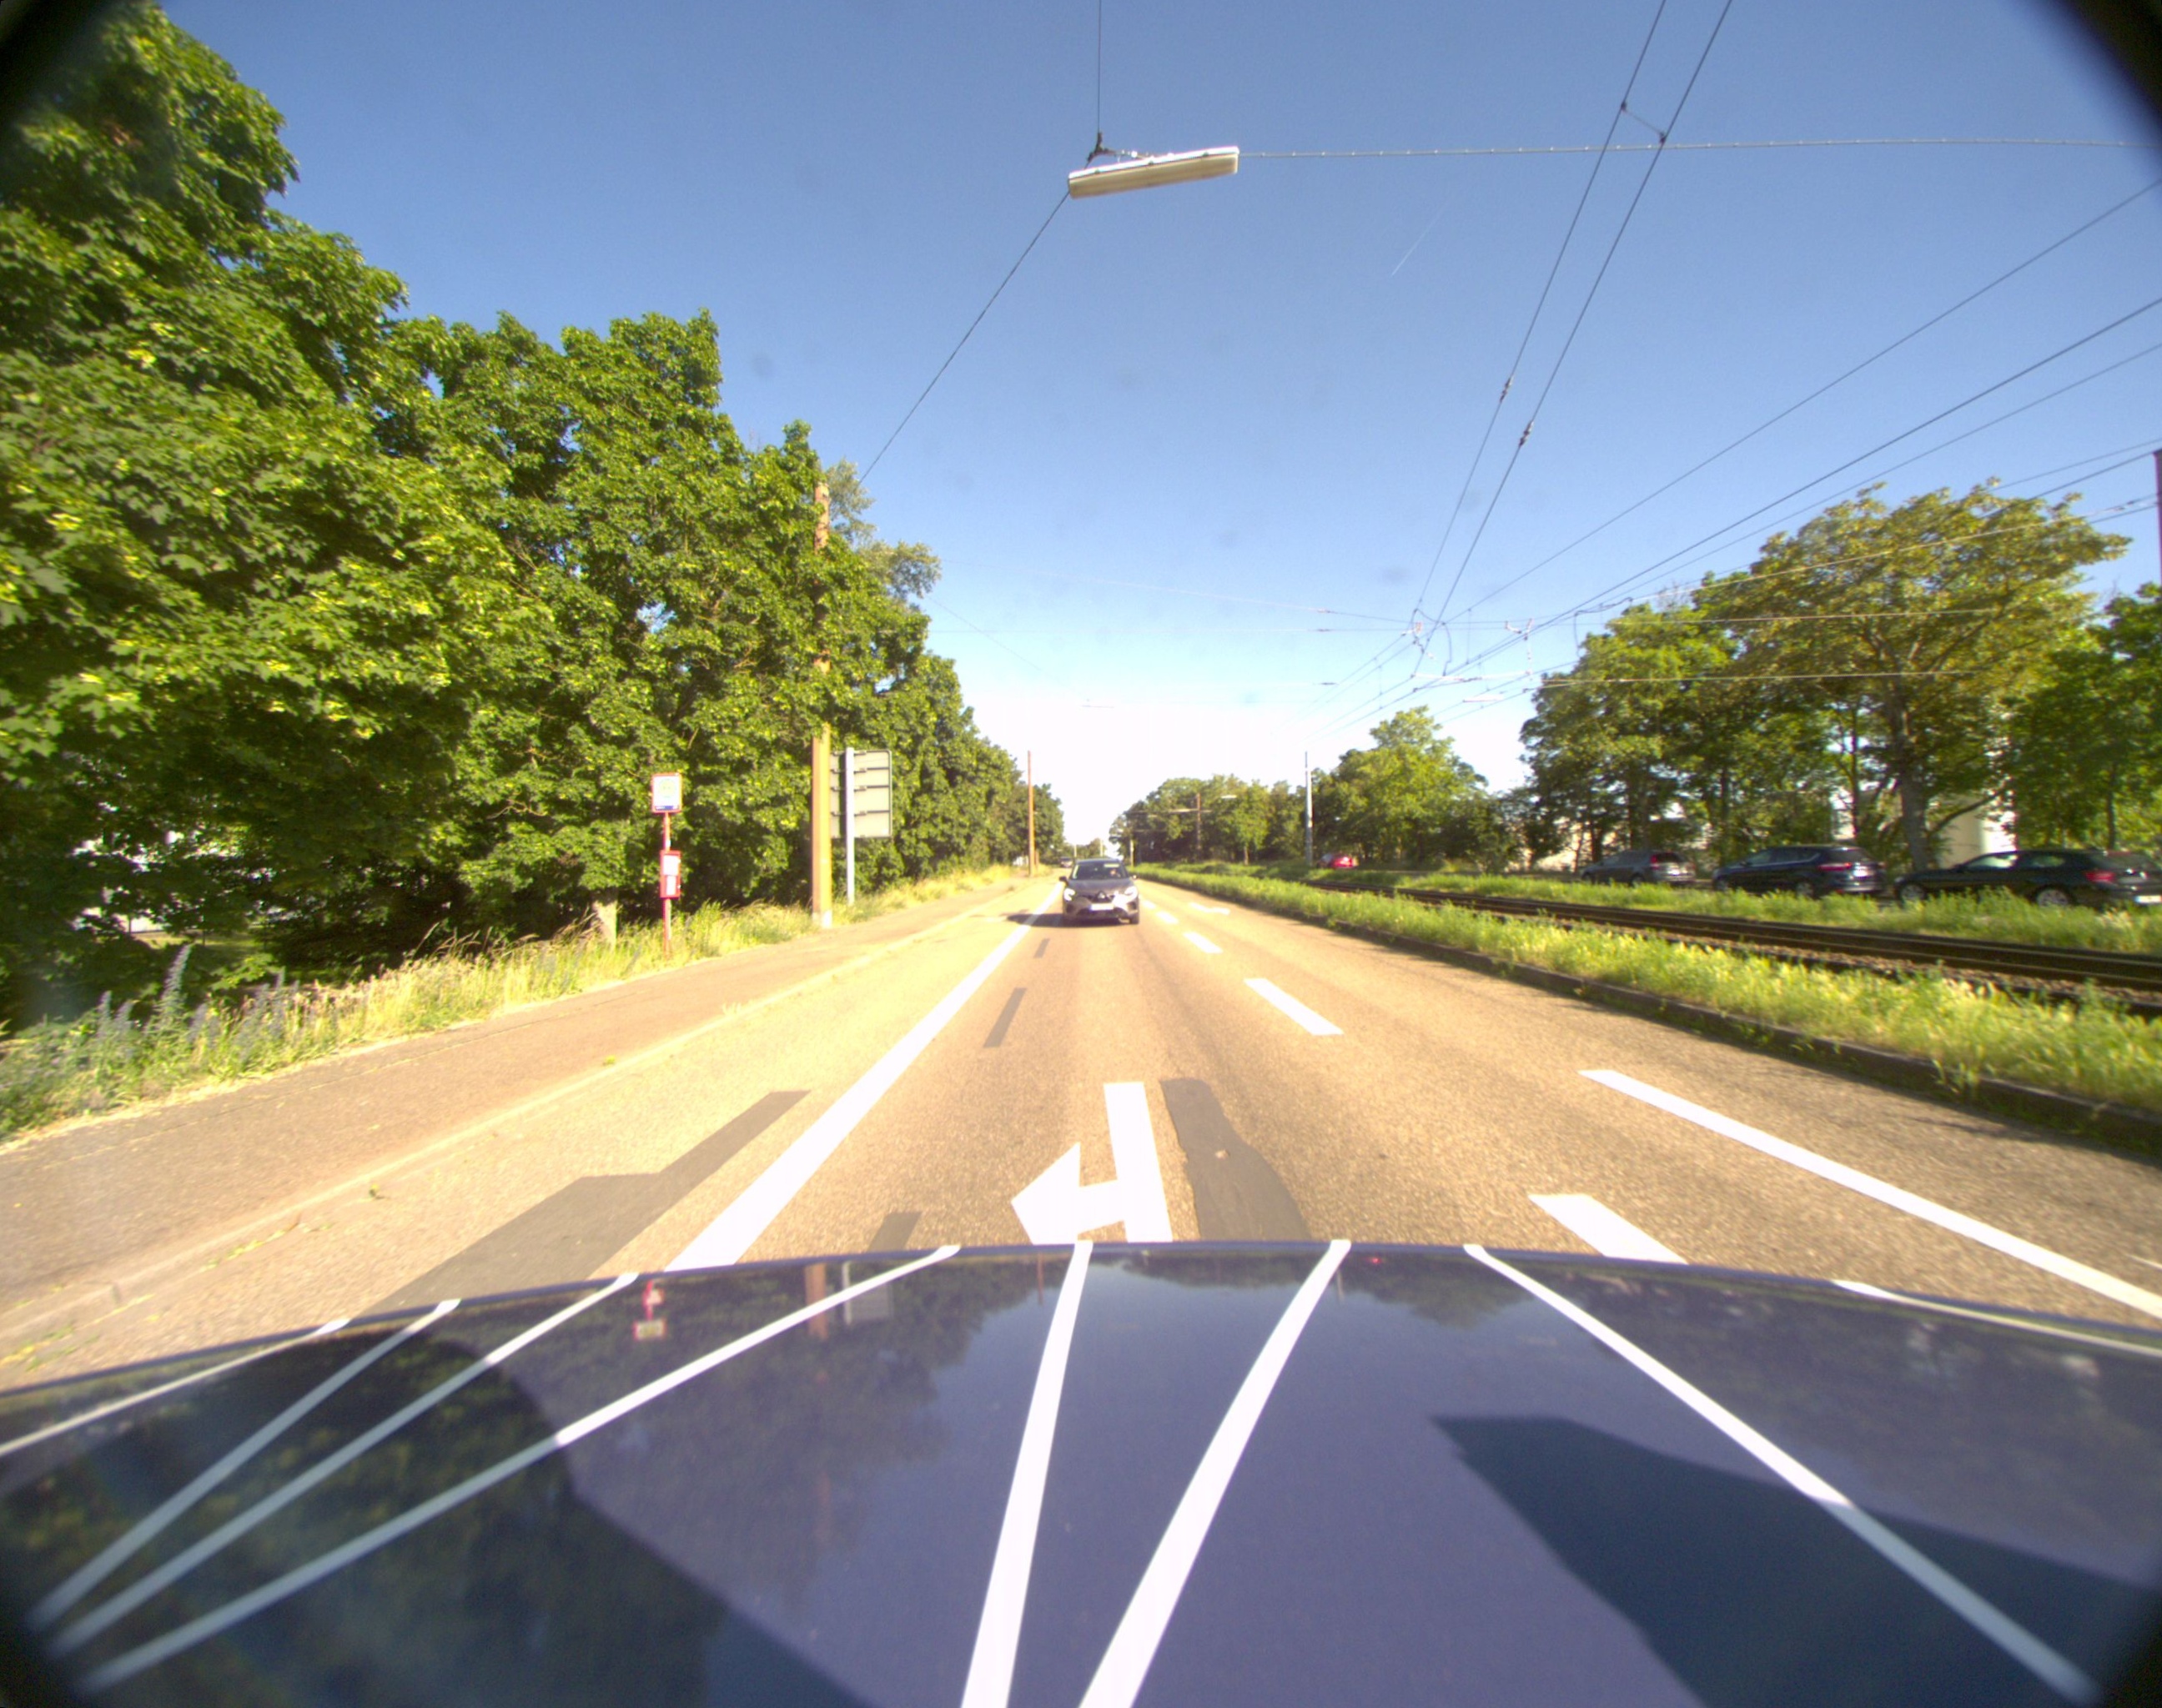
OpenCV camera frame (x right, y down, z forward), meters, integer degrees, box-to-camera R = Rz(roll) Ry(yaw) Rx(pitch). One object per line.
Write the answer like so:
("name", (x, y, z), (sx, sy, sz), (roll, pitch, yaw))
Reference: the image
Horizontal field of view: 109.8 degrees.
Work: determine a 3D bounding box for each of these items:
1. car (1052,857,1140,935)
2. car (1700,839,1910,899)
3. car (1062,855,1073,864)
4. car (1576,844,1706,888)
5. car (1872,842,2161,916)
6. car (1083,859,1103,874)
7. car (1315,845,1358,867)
("car", (0.341, 0.912, 18.426), (1.822, 1.589, 4.413), (-2, 0, 0))
("car", (21.370, 0.426, 22.748), (1.999, 1.565, 4.435), (-2, 0, -1))
("car", (-2.632, 1.113, 147.323), (1.999, 1.577, 3.998), (-2, 0, -5))
("car", (21.504, 0.412, 29.427), (1.740, 1.485, 4.327), (-3, 0, -1))
("car", (21.383, 0.513, 17.388), (1.998, 1.429, 4.415), (-2, 0, 1))
("car", (1.356, 1.379, 87.800), (1.999, 1.577, 3.999), (-2, 0, -2))
("car", (21.195, 0.155, 63.332), (2.009, 1.692, 4.466), (-2, 0, -1))
